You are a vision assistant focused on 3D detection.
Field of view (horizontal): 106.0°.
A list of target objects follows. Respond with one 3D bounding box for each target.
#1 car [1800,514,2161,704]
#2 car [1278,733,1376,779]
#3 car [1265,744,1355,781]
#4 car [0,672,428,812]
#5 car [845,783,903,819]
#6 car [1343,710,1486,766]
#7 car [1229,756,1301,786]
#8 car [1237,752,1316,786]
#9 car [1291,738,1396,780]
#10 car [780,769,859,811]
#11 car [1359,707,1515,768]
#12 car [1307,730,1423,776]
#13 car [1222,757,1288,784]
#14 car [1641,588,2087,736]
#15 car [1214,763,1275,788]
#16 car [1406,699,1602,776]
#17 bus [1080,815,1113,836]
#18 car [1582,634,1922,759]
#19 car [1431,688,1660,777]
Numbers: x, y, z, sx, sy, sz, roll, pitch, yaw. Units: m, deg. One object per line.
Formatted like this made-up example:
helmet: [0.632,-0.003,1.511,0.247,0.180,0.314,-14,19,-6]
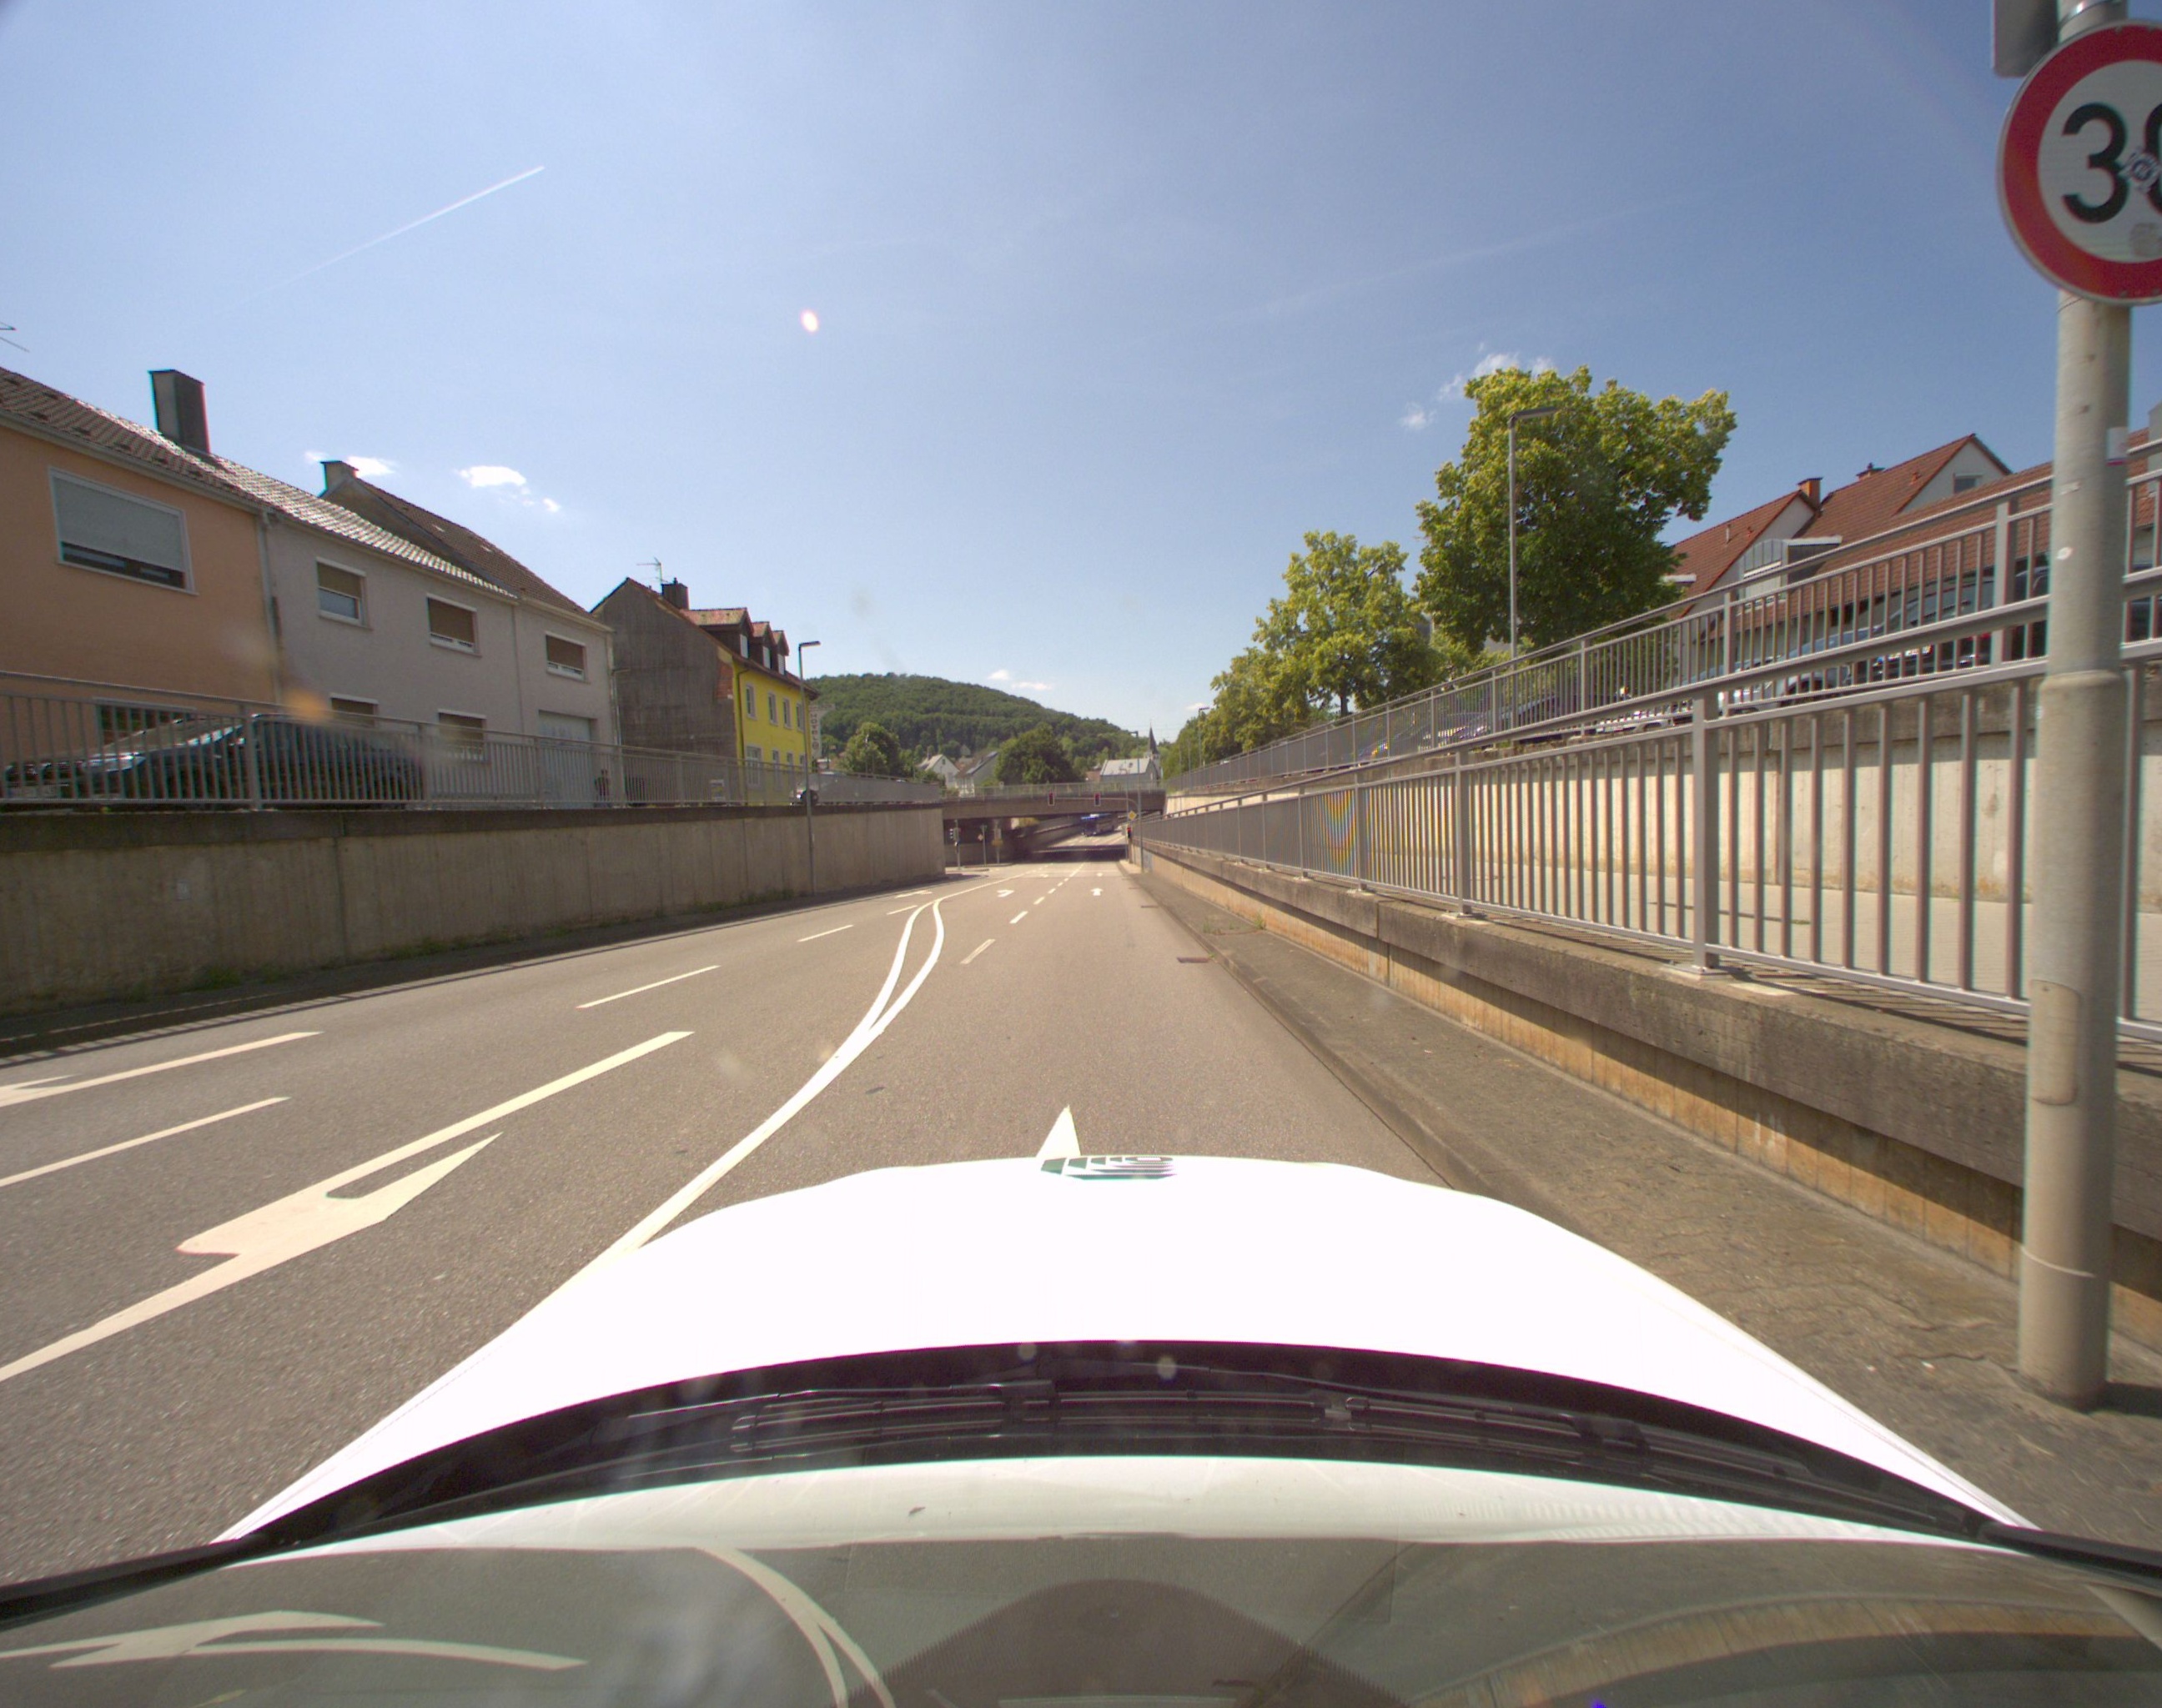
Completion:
car: [10.045,-2.435,8.204,3.972,1.306,1.773,-4,1,1]
car: [11.099,-4.440,36.949,3.969,1.770,1.772,-1,0,4]
car: [11.105,-4.436,39.673,3.969,1.486,1.772,-1,0,4]
car: [-11.423,-1.309,10.885,1.780,1.405,4.393,-2,3,-1]
car: [-10.535,-2.681,41.764,1.817,1.705,4.222,-2,3,-1]
car: [10.830,-3.773,26.683,3.969,1.486,1.772,-1,0,4]
car: [10.982,-4.943,48.789,3.969,1.486,1.772,-1,0,4]
car: [10.641,-4.643,44.482,3.969,1.567,1.772,-1,0,4]
car: [11.114,-4.012,34.717,3.969,1.486,1.772,-1,0,4]
car: [-10.638,-2.587,33.442,1.793,1.524,4.393,-2,3,-1]
car: [10.707,-3.500,24.703,3.969,1.486,1.772,-1,0,4]
car: [11.072,-3.940,31.940,3.969,1.486,1.772,-1,0,4]
car: [11.159,-5.352,52.453,3.969,1.486,1.772,-1,0,4]
car: [9.773,-2.374,10.451,3.969,1.427,1.727,-1,3,3]
car: [11.343,-5.446,56.561,3.969,1.486,1.772,-1,0,4]
car: [10.425,-2.859,20.292,3.969,1.555,1.726,-1,1,3]
bus: [2.579,-4.697,131.503,2.563,3.172,12.426,-1,3,14]
car: [10.620,-2.463,13.132,3.969,1.555,1.726,-1,1,3]
car: [9.965,-2.585,17.706,3.969,1.555,1.726,-1,1,3]
